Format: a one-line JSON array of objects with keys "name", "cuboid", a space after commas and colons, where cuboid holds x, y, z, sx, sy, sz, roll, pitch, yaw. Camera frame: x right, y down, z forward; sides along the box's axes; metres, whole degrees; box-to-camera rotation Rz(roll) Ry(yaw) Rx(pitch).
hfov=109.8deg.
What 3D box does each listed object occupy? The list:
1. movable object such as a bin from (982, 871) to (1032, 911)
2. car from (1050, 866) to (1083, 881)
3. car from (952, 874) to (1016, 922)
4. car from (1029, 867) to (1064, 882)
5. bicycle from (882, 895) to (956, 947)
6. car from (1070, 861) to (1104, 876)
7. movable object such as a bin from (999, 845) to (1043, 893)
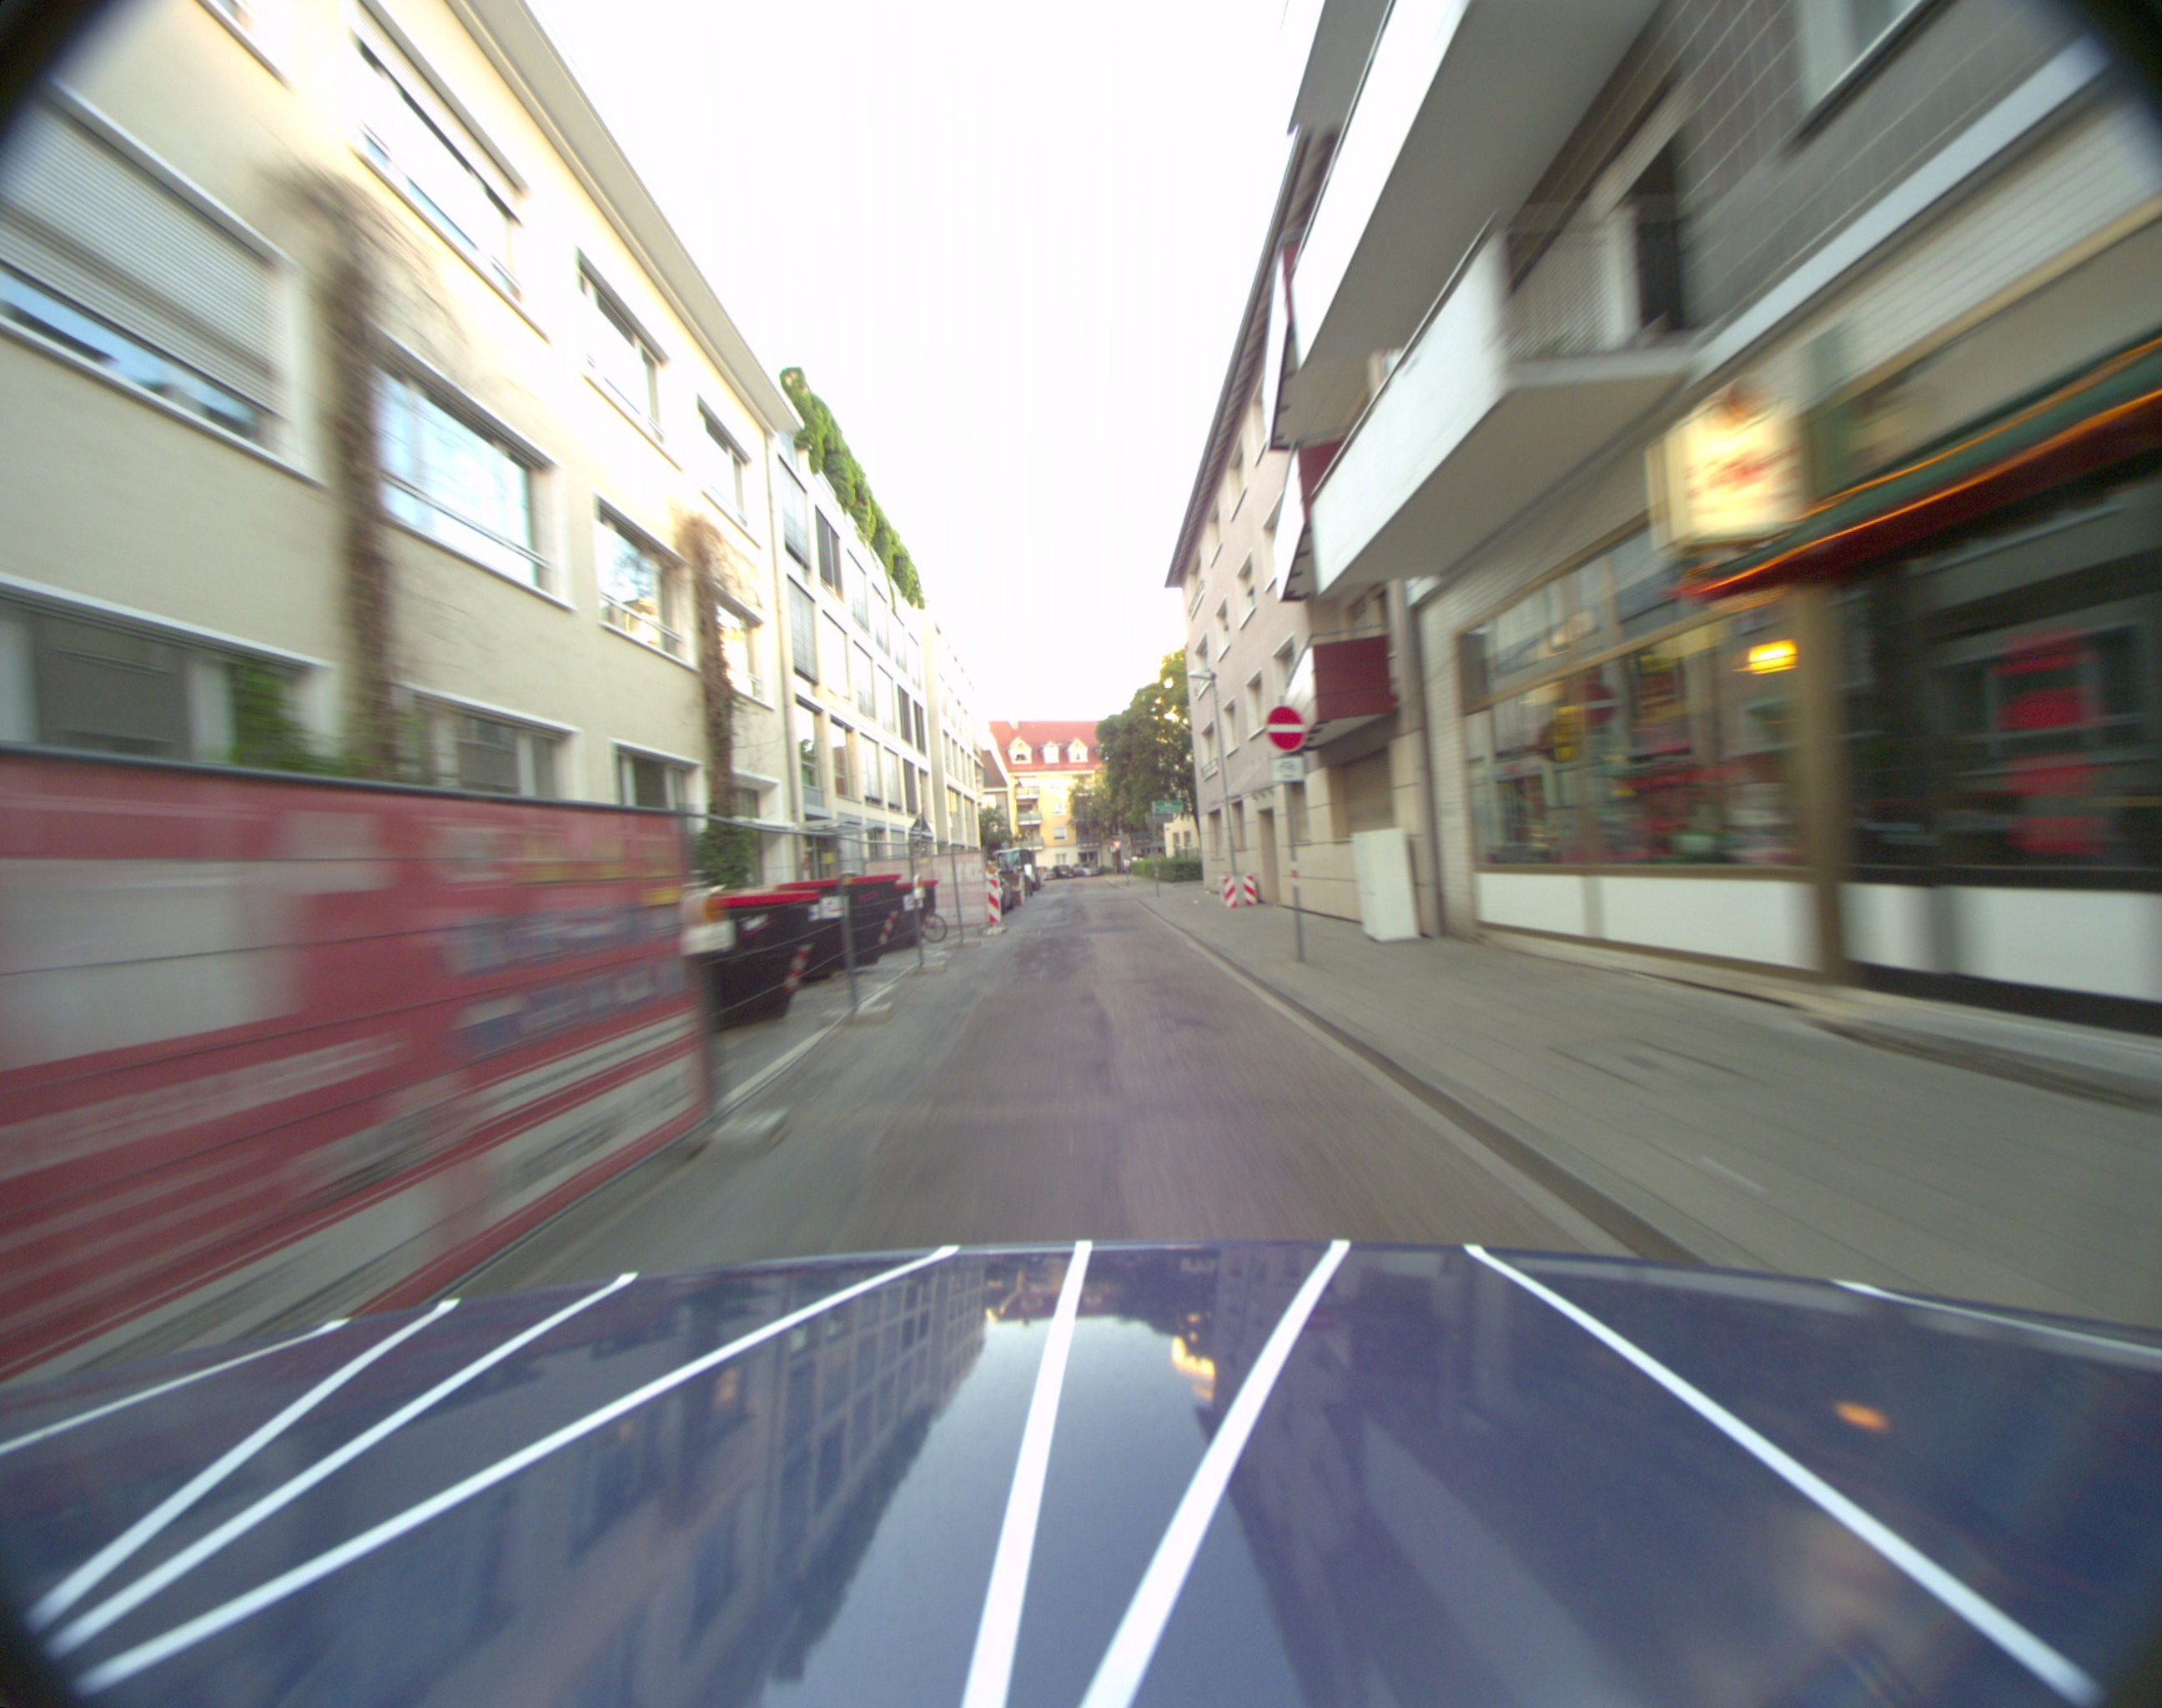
[{"name": "movable object such as a bin", "cuboid": [-2.886, 1.418, 30.217, 1.493, 1.285, 3.779, -5, 0, 0]}, {"name": "car", "cuboid": [-1.584, 2.035, 80.193, 1.794, 1.466, 3.992, -3, 0, -28]}, {"name": "car", "cuboid": [-3.111, 1.384, 25.020, 1.493, 1.285, 3.779, -5, 0, 0]}, {"name": "car", "cuboid": [-3.657, 2.156, 79.101, 1.795, 1.466, 3.991, -3, 0, -33]}, {"name": "bicycle", "cuboid": [-3.669, 1.515, 17.141, 1.771, 1.076, 0.474, -4, 0, 35]}, {"name": "car", "cuboid": [0.632, 1.577, 80.900, 1.795, 1.466, 3.992, -3, 0, -29]}, {"name": "movable object such as a bin", "cuboid": [-3.618, 0.904, 46.801, 2.097, 2.631, 4.373, -5, 0, 0]}]
